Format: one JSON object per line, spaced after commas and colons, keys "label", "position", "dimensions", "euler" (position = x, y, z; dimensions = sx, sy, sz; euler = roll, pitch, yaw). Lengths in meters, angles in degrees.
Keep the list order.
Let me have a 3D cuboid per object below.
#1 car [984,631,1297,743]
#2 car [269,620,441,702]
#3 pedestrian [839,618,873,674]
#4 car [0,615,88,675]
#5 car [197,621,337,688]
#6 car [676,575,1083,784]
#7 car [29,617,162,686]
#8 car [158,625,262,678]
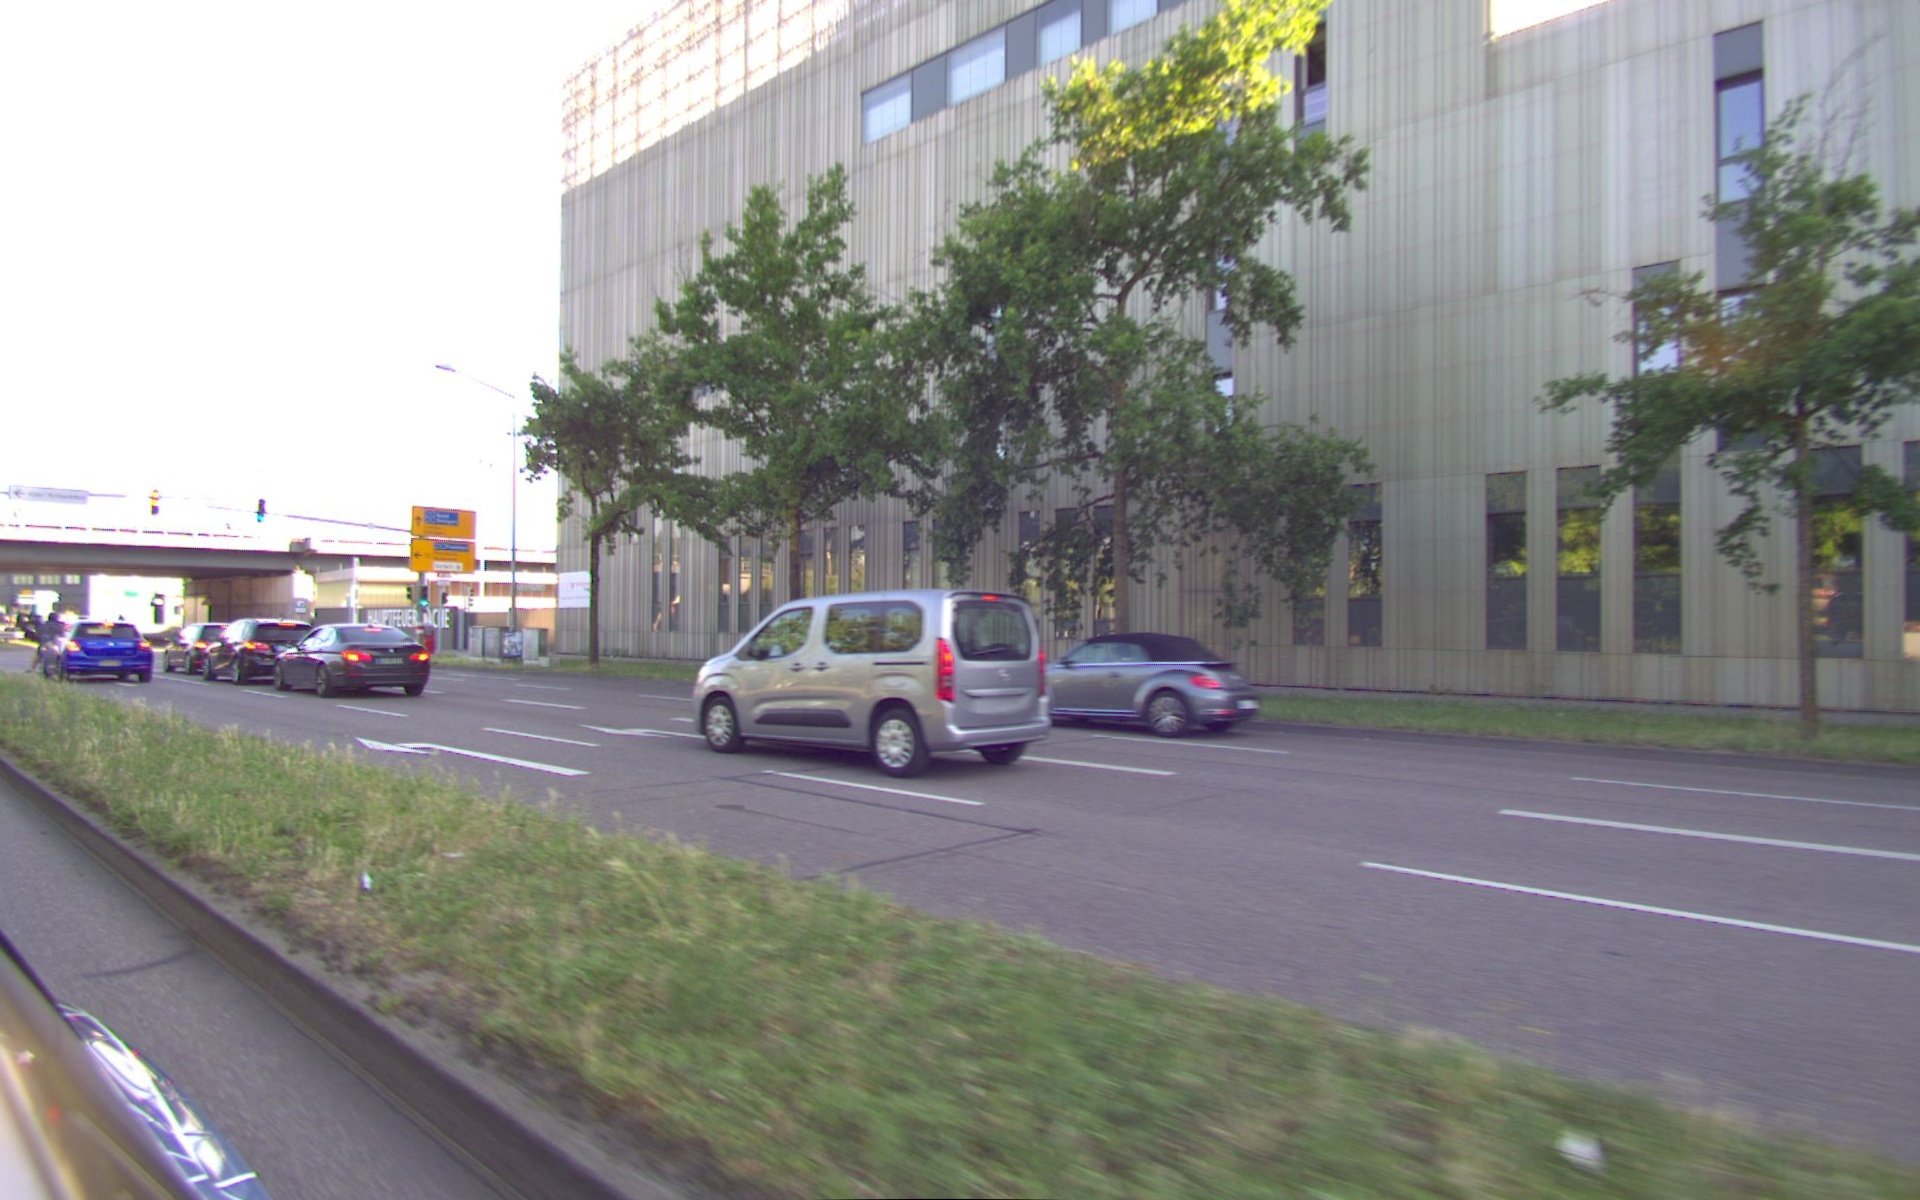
{"label": "car", "position": [2.687, 1.227, 15.645], "dimensions": [4.398, 1.468, 1.973], "euler": [-1, -3, 41]}
{"label": "car", "position": [-12.691, 1.210, 21.127], "dimensions": [4.289, 1.530, 1.904], "euler": [-1, -3, 42]}
{"label": "pedestrian", "position": [-3.058, 1.340, 29.804], "dimensions": [0.725, 1.641, 0.689], "euler": [-1, -2, 41]}
{"label": "car", "position": [-26.689, 1.267, 29.137], "dimensions": [3.999, 1.617, 1.904], "euler": [-1, -3, 42]}
{"label": "car", "position": [-17.186, 1.295, 25.029], "dimensions": [3.998, 1.530, 1.905], "euler": [-1, -3, 41]}
{"label": "car", "position": [-1.021, 0.760, 11.070], "dimensions": [4.400, 1.830, 1.972], "euler": [-1, -3, 42]}
{"label": "car", "position": [-20.971, 1.211, 24.504], "dimensions": [3.949, 1.530, 1.817], "euler": [-1, -3, 40]}
{"label": "car", "position": [-21.917, 1.472, 29.533], "dimensions": [3.770, 1.444, 1.673], "euler": [-1, -3, 41]}
